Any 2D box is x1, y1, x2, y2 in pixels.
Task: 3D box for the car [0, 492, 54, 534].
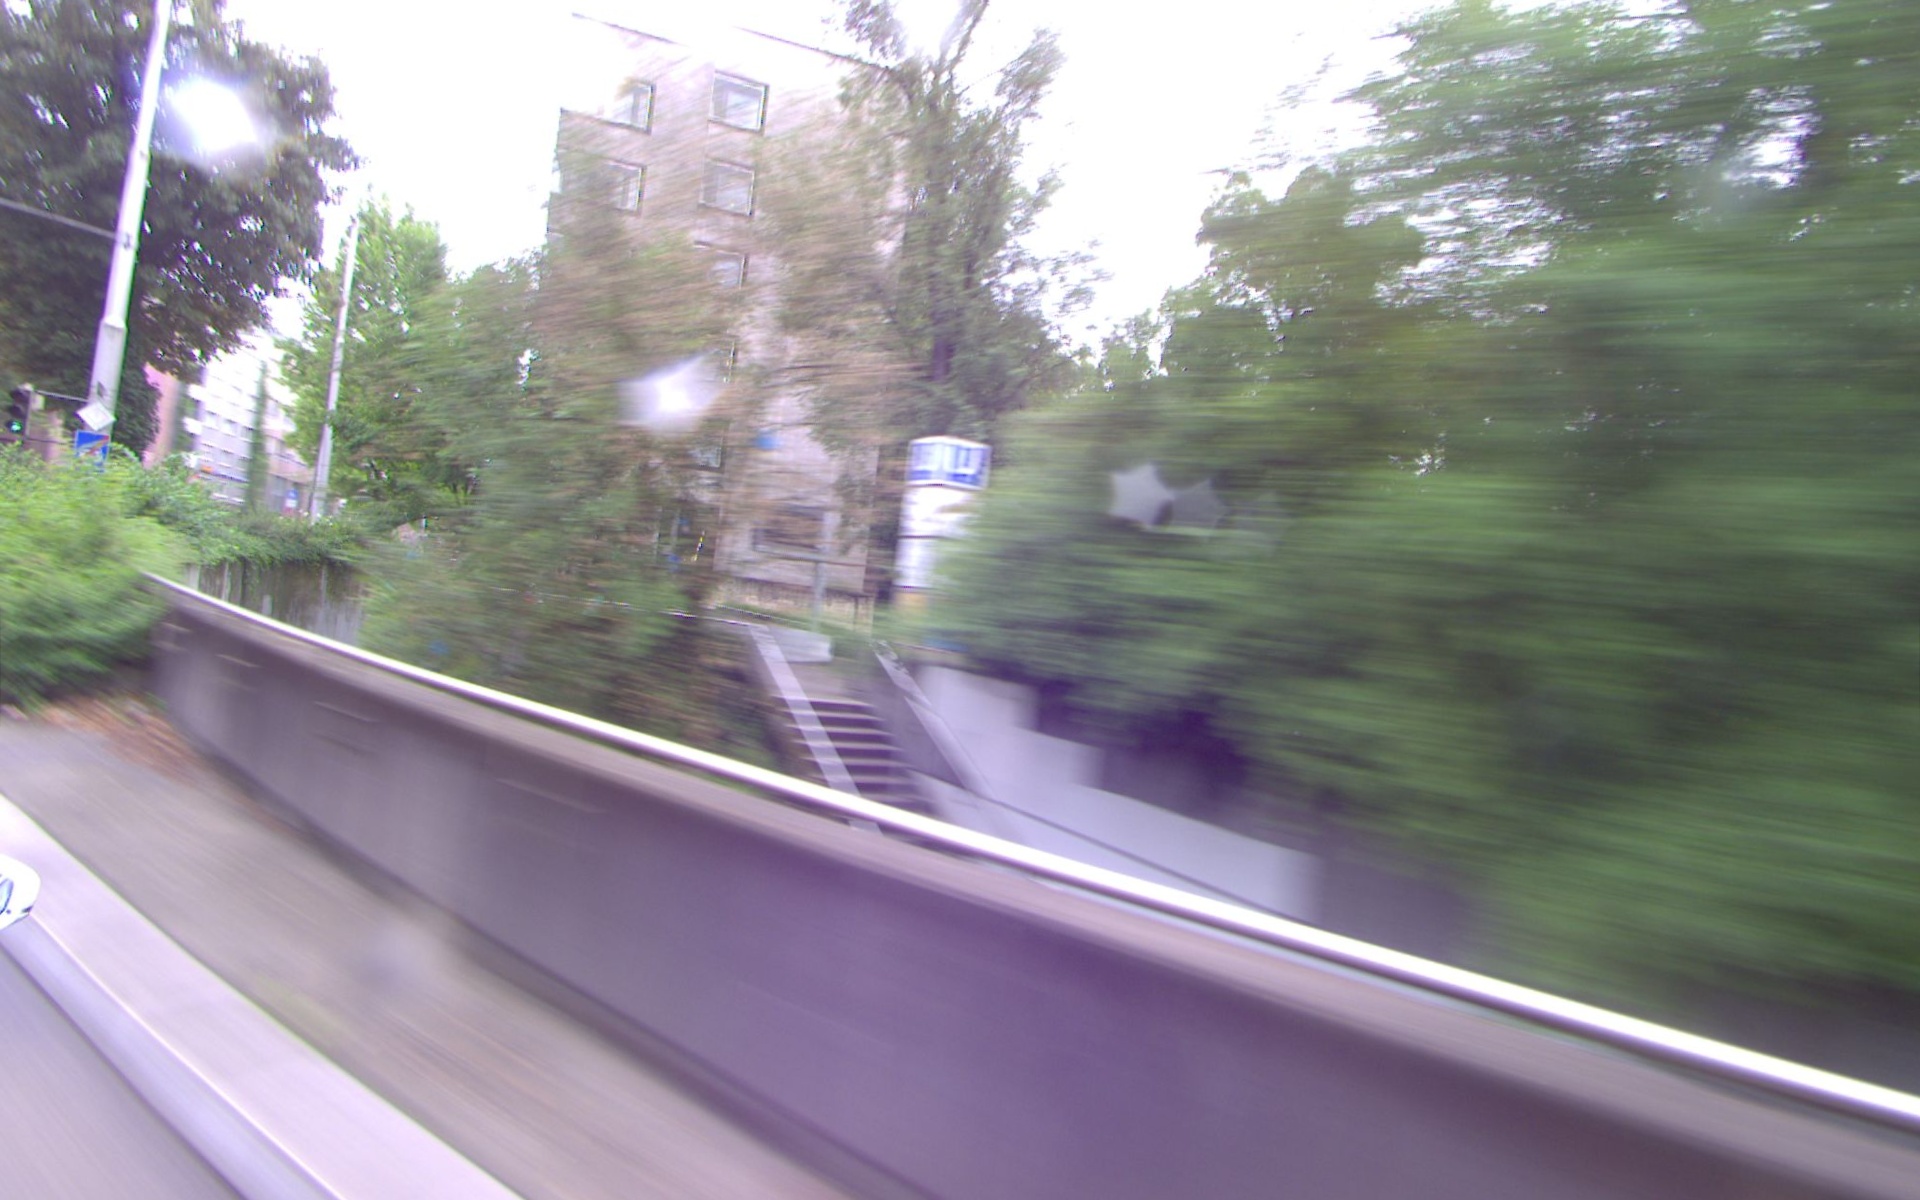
[{"bbox_3d":[-44.181,-4.094,46.459,1.833,1.642,4.572,6,-1,-21],"label":"car"}]
